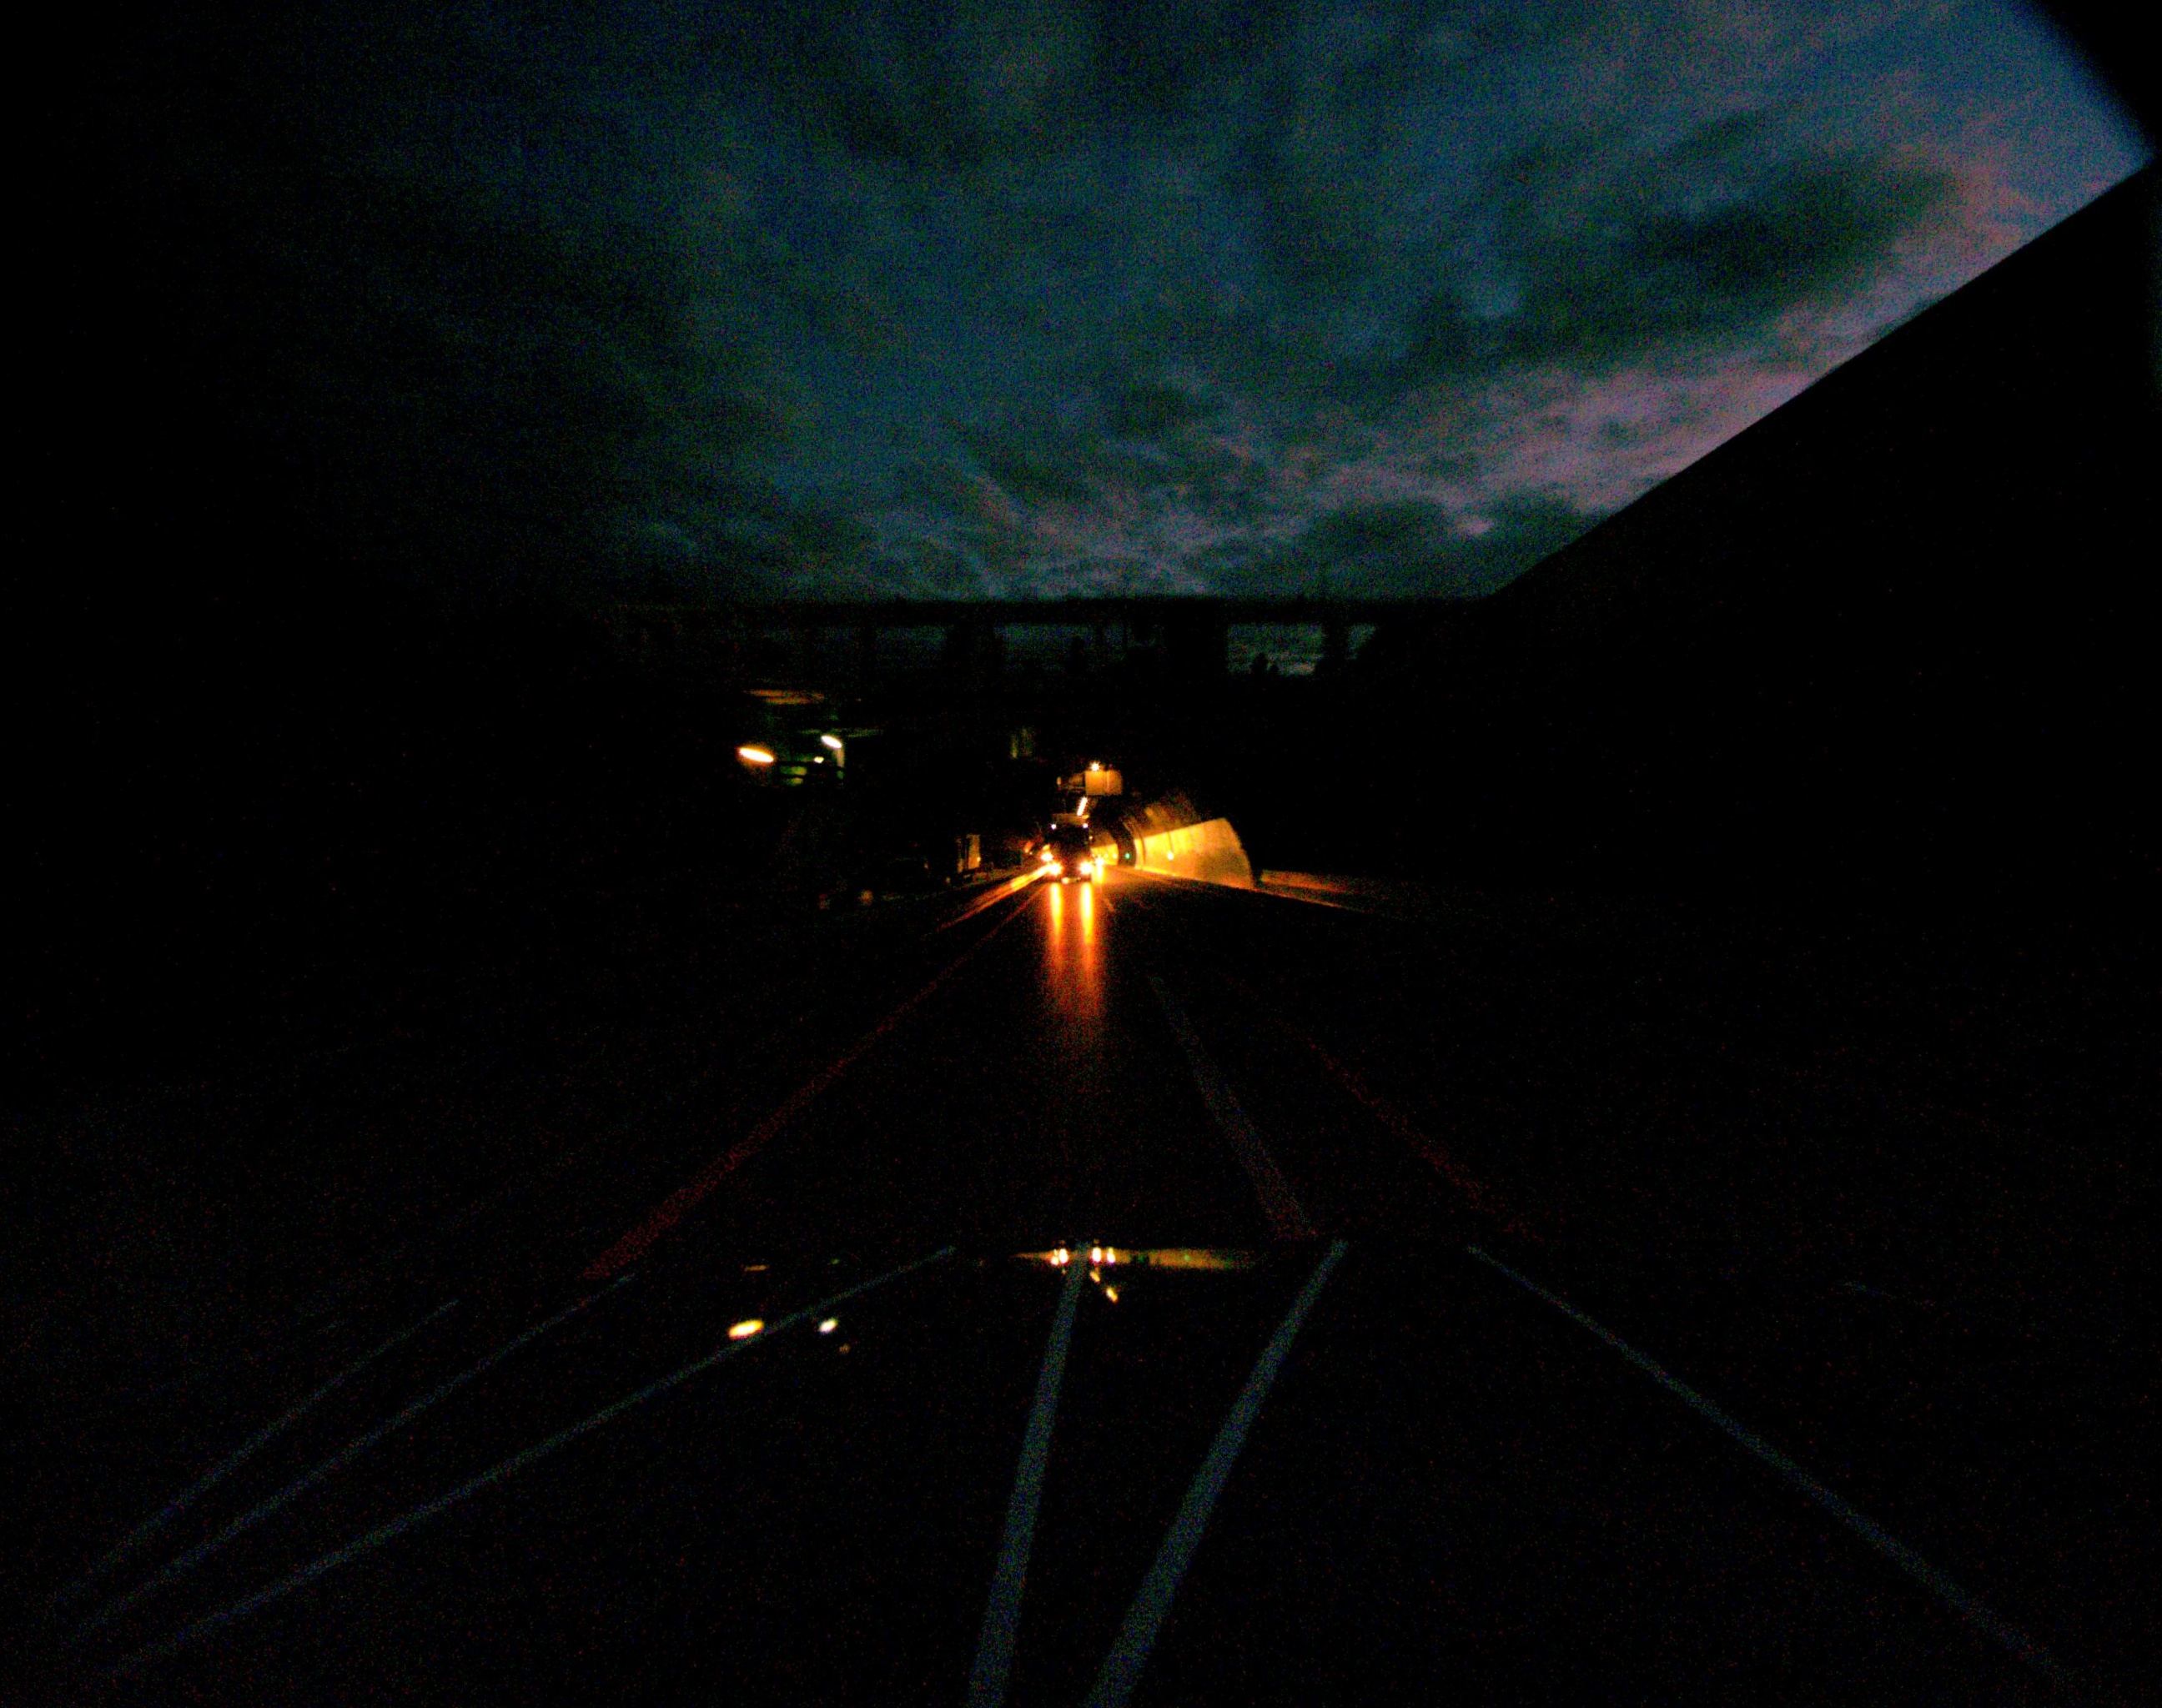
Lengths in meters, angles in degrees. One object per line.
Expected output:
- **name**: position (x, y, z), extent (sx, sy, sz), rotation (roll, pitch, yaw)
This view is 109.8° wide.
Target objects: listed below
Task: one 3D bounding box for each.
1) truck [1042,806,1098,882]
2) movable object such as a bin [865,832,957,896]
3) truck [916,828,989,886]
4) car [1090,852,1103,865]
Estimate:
- **truck**: position (-0.518, -0.649, 49.451), extent (2.953, 4.241, 11.052), rotation (-3, 1, 2)
- **movable object such as a bin**: position (-8.350, 0.418, 38.315), extent (2.978, 2.811, 7.195), rotation (-3, 1, -1)
- **truck**: position (-8.006, 0.141, 48.361), extent (2.825, 3.267, 8.352), rotation (-3, 1, 2)
- **car**: position (2.077, 0.553, 103.520), extent (1.662, 1.586, 3.996), rotation (-3, 1, 1)
